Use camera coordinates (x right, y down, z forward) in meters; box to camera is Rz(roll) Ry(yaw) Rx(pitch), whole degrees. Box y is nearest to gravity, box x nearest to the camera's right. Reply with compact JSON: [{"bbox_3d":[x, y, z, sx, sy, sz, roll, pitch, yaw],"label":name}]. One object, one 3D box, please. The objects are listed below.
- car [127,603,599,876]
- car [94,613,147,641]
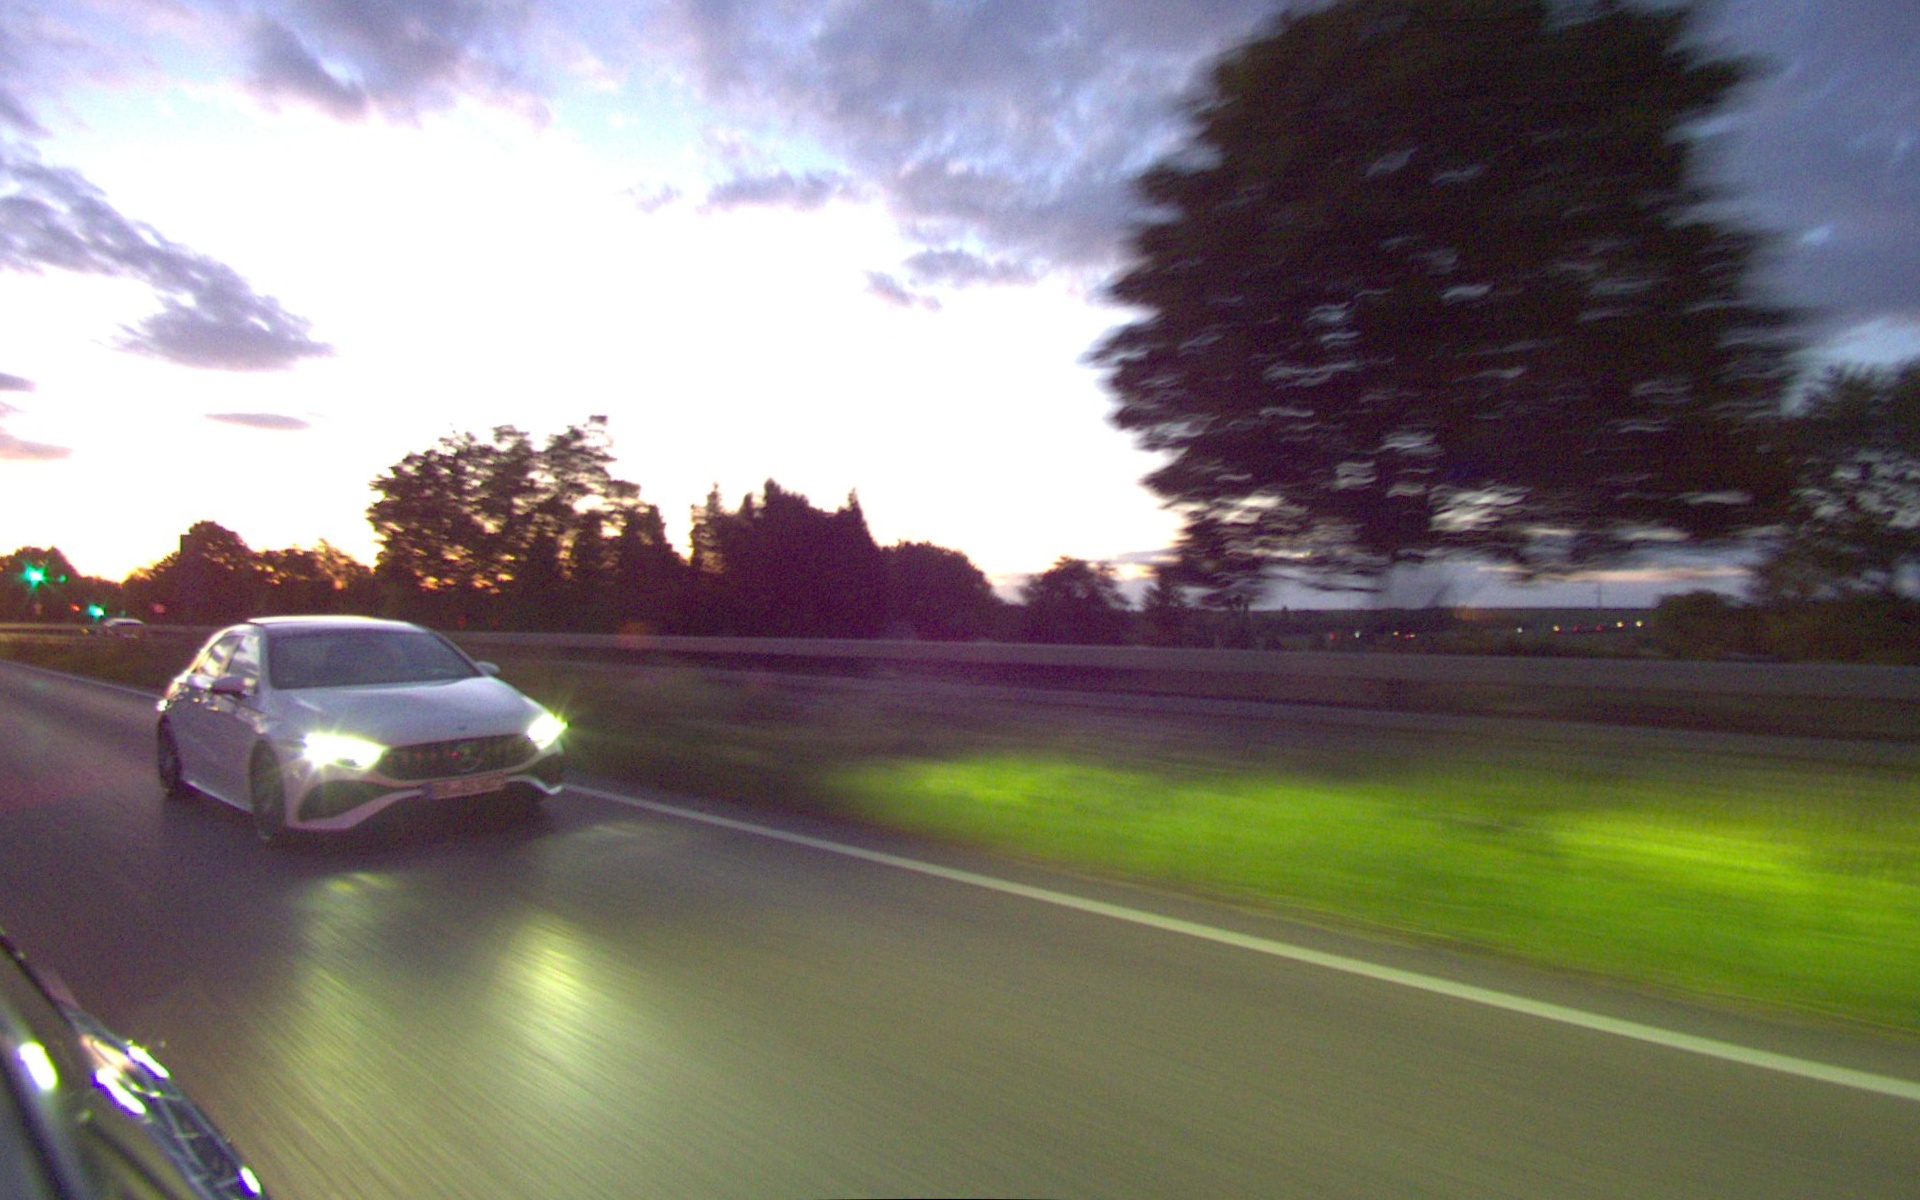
[{"bbox_3d":[-4.806,0.843,7.793,4.644,1.447,1.796,-2,0,42],"label":"car"},{"bbox_3d":[-47.501,1.506,57.219,3.997,1.516,1.638,-1,0,40],"label":"car"}]
